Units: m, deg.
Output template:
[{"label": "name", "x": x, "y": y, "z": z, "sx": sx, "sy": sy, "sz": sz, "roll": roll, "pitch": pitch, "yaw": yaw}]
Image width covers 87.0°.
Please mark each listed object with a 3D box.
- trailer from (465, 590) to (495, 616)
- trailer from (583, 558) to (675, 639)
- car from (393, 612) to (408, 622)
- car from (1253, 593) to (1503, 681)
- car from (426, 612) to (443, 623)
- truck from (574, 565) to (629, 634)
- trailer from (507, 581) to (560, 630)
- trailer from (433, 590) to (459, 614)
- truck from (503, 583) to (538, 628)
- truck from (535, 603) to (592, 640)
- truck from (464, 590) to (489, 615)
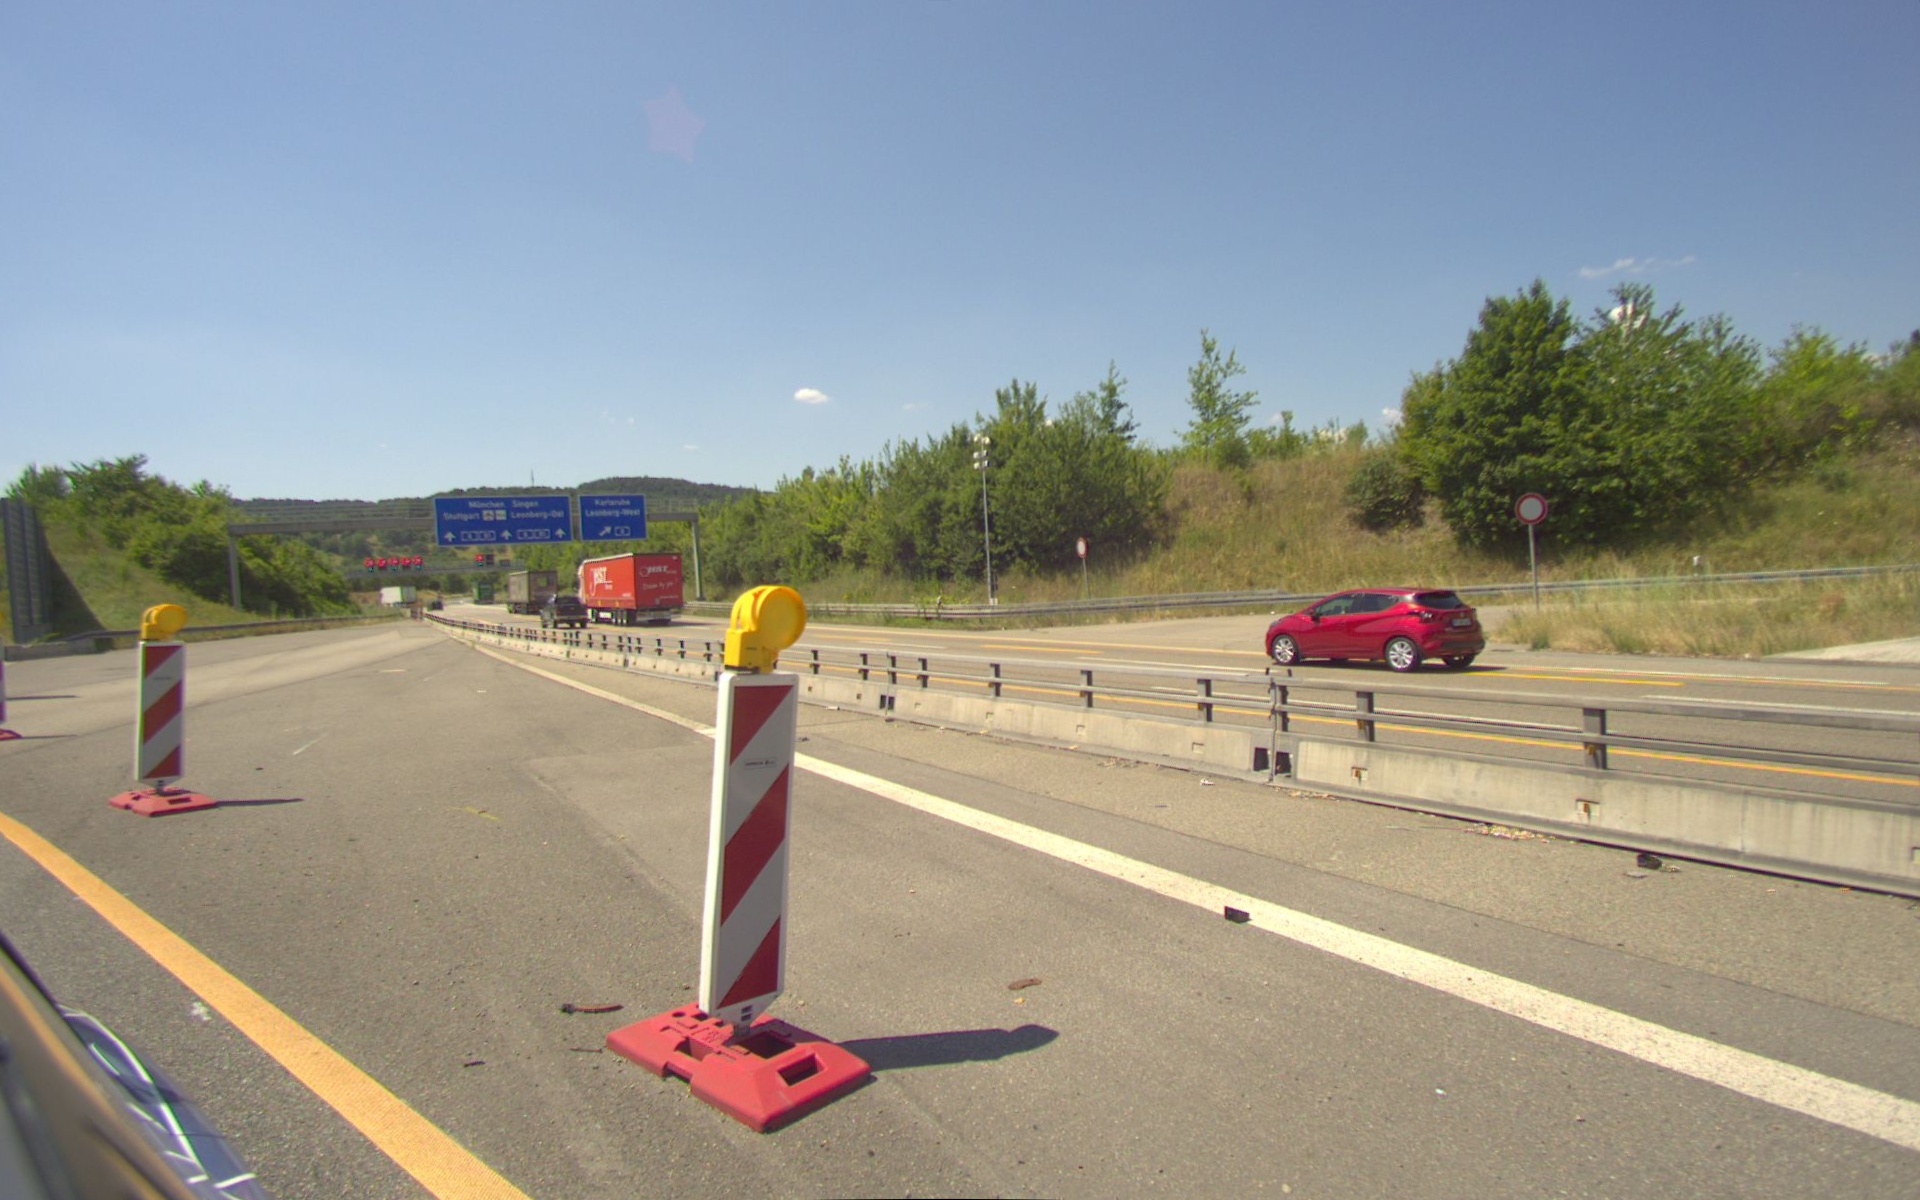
[{"label": "trailer", "x": -86.683, "y": 0.457, "z": 182.699, "sx": 3.498, "sy": 4.301, "sz": 13.951, "roll": -5, "pitch": 2, "yaw": -30}, {"label": "trailer", "x": -19.519, "y": -0.064, "z": 58.902, "sx": 2.305, "sy": 4.133, "sz": 13.302, "roll": -3, "pitch": 1, "yaw": -30}, {"label": "car", "x": -95.754, "y": 2.946, "z": 173.193, "sx": 1.693, "sy": 1.635, "sz": 4.181, "roll": -4, "pitch": 2, "yaw": -34}, {"label": "car", "x": 7.456, "y": 0.609, "z": 18.434, "sx": 1.664, "sy": 1.405, "sz": 4.012, "roll": -1, "pitch": 0, "yaw": -30}, {"label": "car", "x": -77.890, "y": 2.573, "z": 149.976, "sx": 1.693, "sy": 1.502, "sz": 3.697, "roll": -3, "pitch": 1, "yaw": -35}, {"label": "truck", "x": -23.116, "y": -0.040, "z": 65.172, "sx": 2.302, "sy": 4.138, "sz": 5.033, "roll": -3, "pitch": 1, "yaw": -30}, {"label": "trailer", "x": -40.715, "y": 0.528, "z": 96.229, "sx": 2.402, "sy": 4.328, "sz": 13.849, "roll": -3, "pitch": 1, "yaw": -31}, {"label": "trailer", "x": -101.373, "y": 0.398, "z": 199.537, "sx": 3.498, "sy": 4.301, "sz": 13.951, "roll": -5, "pitch": 2, "yaw": -30}, {"label": "truck", "x": -44.331, "y": 0.575, "z": 102.118, "sx": 2.398, "sy": 4.301, "sz": 4.853, "roll": -3, "pitch": 1, "yaw": -31}, {"label": "truck", "x": -22.235, "y": 1.207, "z": 56.669, "sx": 1.967, "sy": 1.887, "sz": 4.774, "roll": -3, "pitch": 0, "yaw": -34}, {"label": "truck", "x": -90.184, "y": 0.436, "z": 188.700, "sx": 3.498, "sy": 4.301, "sz": 5.797, "roll": -5, "pitch": 2, "yaw": -30}]
